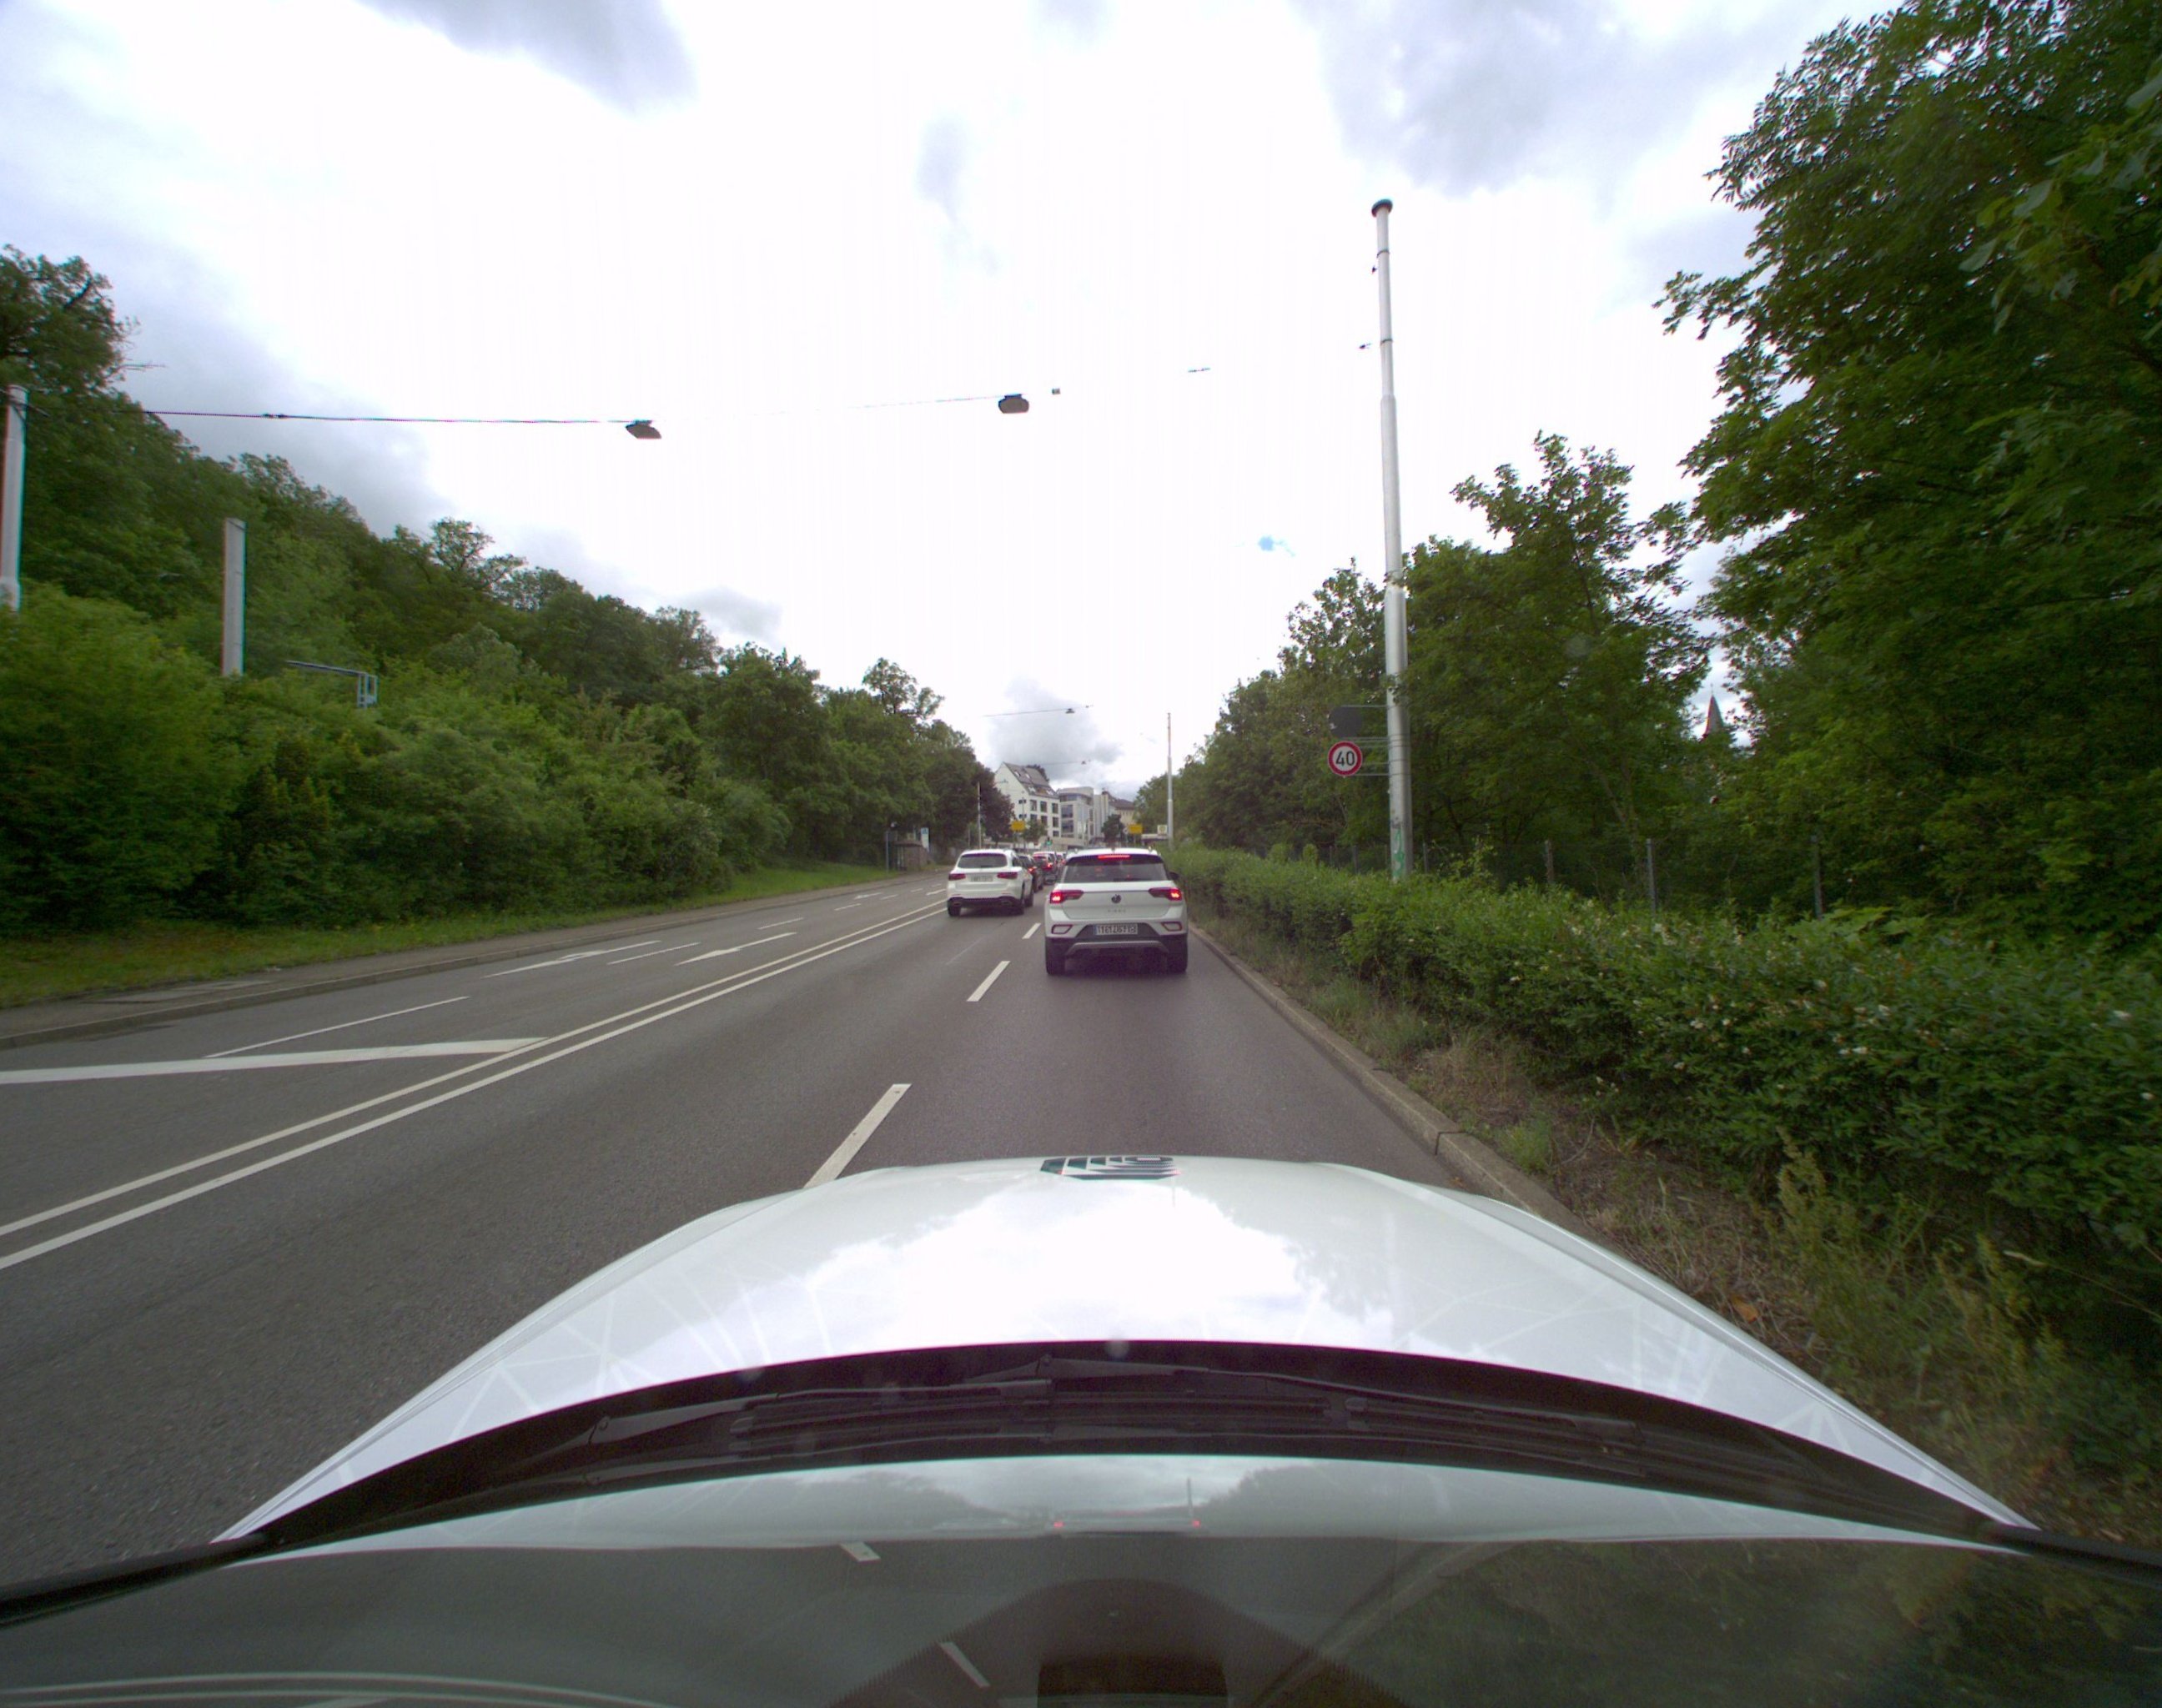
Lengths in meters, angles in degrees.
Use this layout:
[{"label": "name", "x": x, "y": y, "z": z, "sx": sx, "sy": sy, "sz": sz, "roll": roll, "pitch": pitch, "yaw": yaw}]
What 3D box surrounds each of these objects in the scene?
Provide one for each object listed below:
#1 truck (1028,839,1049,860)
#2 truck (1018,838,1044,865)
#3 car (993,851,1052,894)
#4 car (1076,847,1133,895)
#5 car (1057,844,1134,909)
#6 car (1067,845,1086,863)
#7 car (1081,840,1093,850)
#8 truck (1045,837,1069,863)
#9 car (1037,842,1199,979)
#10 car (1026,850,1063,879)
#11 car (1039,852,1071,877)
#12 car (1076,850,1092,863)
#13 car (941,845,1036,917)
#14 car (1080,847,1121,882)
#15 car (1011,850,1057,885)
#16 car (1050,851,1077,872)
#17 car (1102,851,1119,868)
[{"label": "truck", "x": -6.685, "y": -0.682, "z": 128.498, "sx": 2.283, "sy": 3.051, "sz": 6.986, "roll": -3, "pitch": 0, "yaw": 4}, {"label": "truck", "x": -5.360, "y": -0.279, "z": 88.254, "sx": 2.354, "sy": 2.706, "sz": 4.479, "roll": -3, "pitch": 0, "yaw": 1}, {"label": "car", "x": -2.190, "y": 0.663, "z": 31.391, "sx": 1.823, "sy": 1.497, "sz": 4.001, "roll": -3, "pitch": 0, "yaw": 1}, {"label": "car", "x": 0.816, "y": 0.558, "z": 29.111, "sx": 1.823, "sy": 1.526, "sz": 4.001, "roll": -3, "pitch": 0, "yaw": 1}, {"label": "car", "x": 0.406, "y": 0.547, "z": 22.065, "sx": 1.823, "sy": 1.526, "sz": 4.001, "roll": -3, "pitch": 0, "yaw": 1}, {"label": "car", "x": -0.438, "y": -0.002, "z": 84.698, "sx": 1.809, "sy": 1.656, "sz": 3.929, "roll": -3, "pitch": 0, "yaw": 1}, {"label": "car", "x": 0.927, "y": -1.353, "z": 124.341, "sx": 1.823, "sy": 1.526, "sz": 4.001, "roll": -3, "pitch": 0, "yaw": 1}, {"label": "truck", "x": -2.726, "y": -0.447, "z": 93.024, "sx": 2.354, "sy": 2.782, "sz": 4.479, "roll": -3, "pitch": 0, "yaw": 1}, {"label": "car", "x": 0.473, "y": 0.651, "z": 11.428, "sx": 1.823, "sy": 1.526, "sz": 4.001, "roll": -2, "pitch": 0, "yaw": 1}, {"label": "car", "x": -2.030, "y": 0.576, "z": 46.342, "sx": 1.823, "sy": 1.526, "sz": 4.001, "roll": -3, "pitch": 0, "yaw": 1}, {"label": "car", "x": -1.672, "y": 0.654, "z": 54.155, "sx": 1.823, "sy": 1.526, "sz": 4.001, "roll": -3, "pitch": 0, "yaw": 1}, {"label": "car", "x": 0.399, "y": 0.277, "z": 102.411, "sx": 1.823, "sy": 1.526, "sz": 4.001, "roll": -3, "pitch": 0, "yaw": 1}, {"label": "car", "x": -2.291, "y": 0.623, "z": 21.164, "sx": 1.911, "sy": 1.669, "sz": 4.001, "roll": -1, "pitch": 0, "yaw": 1}, {"label": "car", "x": 0.949, "y": 0.464, "z": 39.483, "sx": 1.823, "sy": 1.526, "sz": 4.001, "roll": -3, "pitch": 0, "yaw": 1}, {"label": "car", "x": -2.184, "y": 0.623, "z": 39.092, "sx": 1.823, "sy": 1.526, "sz": 4.001, "roll": -3, "pitch": 0, "yaw": 1}, {"label": "car", "x": -1.339, "y": 0.546, "z": 62.529, "sx": 1.823, "sy": 1.526, "sz": 4.001, "roll": -3, "pitch": 0, "yaw": 1}, {"label": "car", "x": 3.725, "y": 0.724, "z": 102.728, "sx": 1.986, "sy": 2.013, "sz": 4.002, "roll": -3, "pitch": 0, "yaw": 2}]
